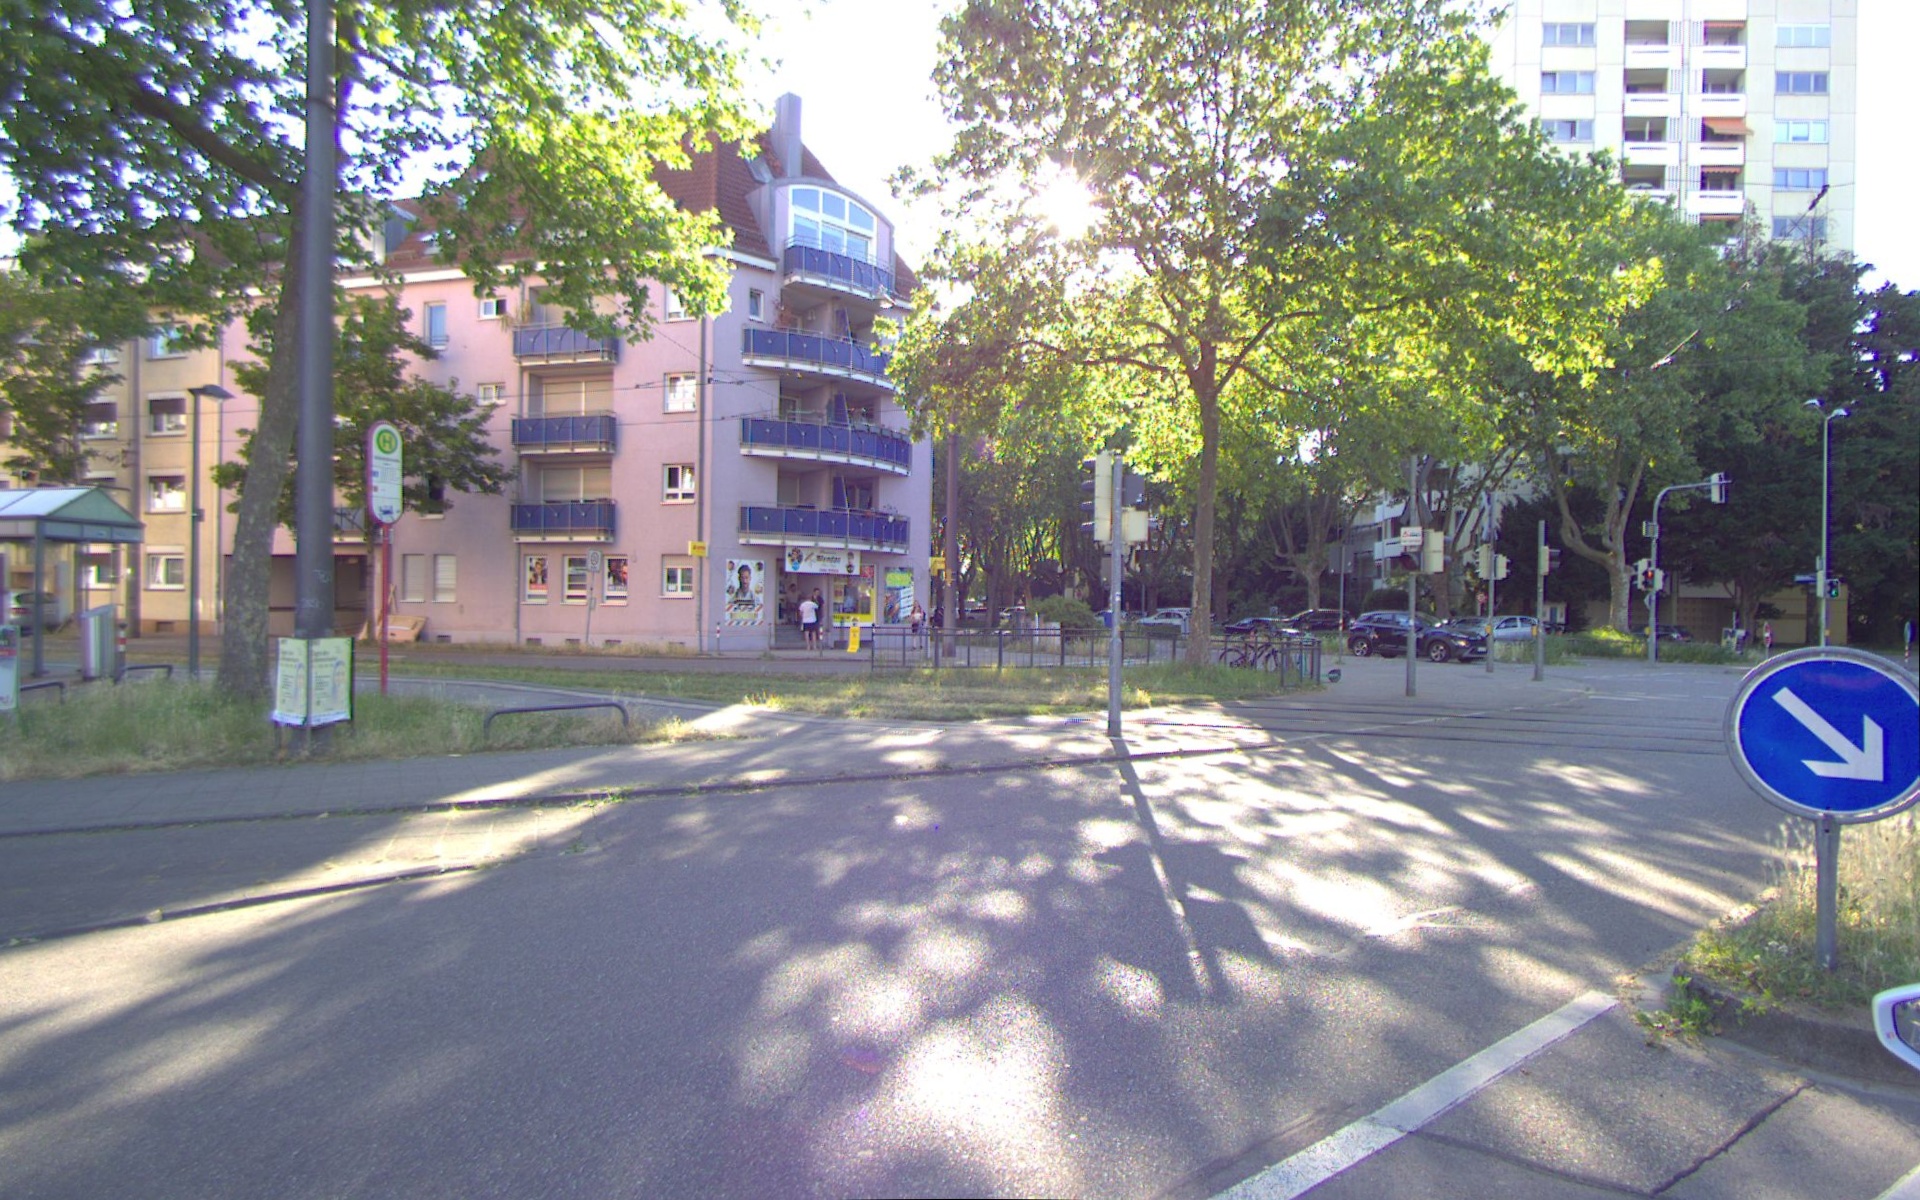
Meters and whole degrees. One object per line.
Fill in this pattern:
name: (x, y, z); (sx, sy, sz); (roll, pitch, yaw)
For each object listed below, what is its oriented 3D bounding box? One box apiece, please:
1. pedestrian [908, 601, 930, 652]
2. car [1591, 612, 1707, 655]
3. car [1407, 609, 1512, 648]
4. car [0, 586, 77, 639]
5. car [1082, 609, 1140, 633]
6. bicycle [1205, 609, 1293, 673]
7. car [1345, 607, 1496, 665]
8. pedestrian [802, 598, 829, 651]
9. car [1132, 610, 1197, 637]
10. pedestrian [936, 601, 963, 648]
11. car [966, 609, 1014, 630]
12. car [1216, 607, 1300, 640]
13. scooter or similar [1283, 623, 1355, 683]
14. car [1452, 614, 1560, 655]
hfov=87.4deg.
pedestrian: (-1.402, 0.906, 34.282); (0.540, 1.689, 0.620); (2, 0, 17)
car: (31.610, 1.521, 46.201); (1.971, 1.798, 3.979); (2, 0, -22)
car: (22.834, 1.301, 46.032); (3.921, 1.617, 1.738); (2, 0, 0)
car: (-33.485, 0.395, 35.215); (4.029, 1.728, 1.940); (2, 0, 16)
car: (11.076, 1.527, 73.896); (3.921, 1.617, 1.738); (2, 0, 0)
bicycle: (6.394, 0.897, 22.244); (1.811, 1.324, 0.382); (2, 0, 34)
car: (14.318, 1.085, 31.434); (1.722, 1.617, 3.959); (2, 0, -36)
pedestrian: (-4.706, 0.800, 32.686); (0.610, 1.689, 0.549); (2, 0, 38)
car: (13.395, 1.555, 65.982); (3.921, 1.617, 1.738); (2, 0, 0)
pedestrian: (-0.394, 0.913, 37.426); (0.907, 1.689, 0.620); (2, 0, 3)
car: (2.600, 1.673, 86.364); (3.919, 1.617, 1.739); (2, 0, 9)
car: (15.906, 1.243, 53.680); (3.921, 1.617, 1.738); (2, 0, 0)
scooter or similar: (7.916, 1.162, 22.202); (1.412, 1.255, 0.414); (2, 0, 9)
car: (23.872, 1.495, 43.981); (3.732, 1.617, 1.738); (2, 0, 0)
